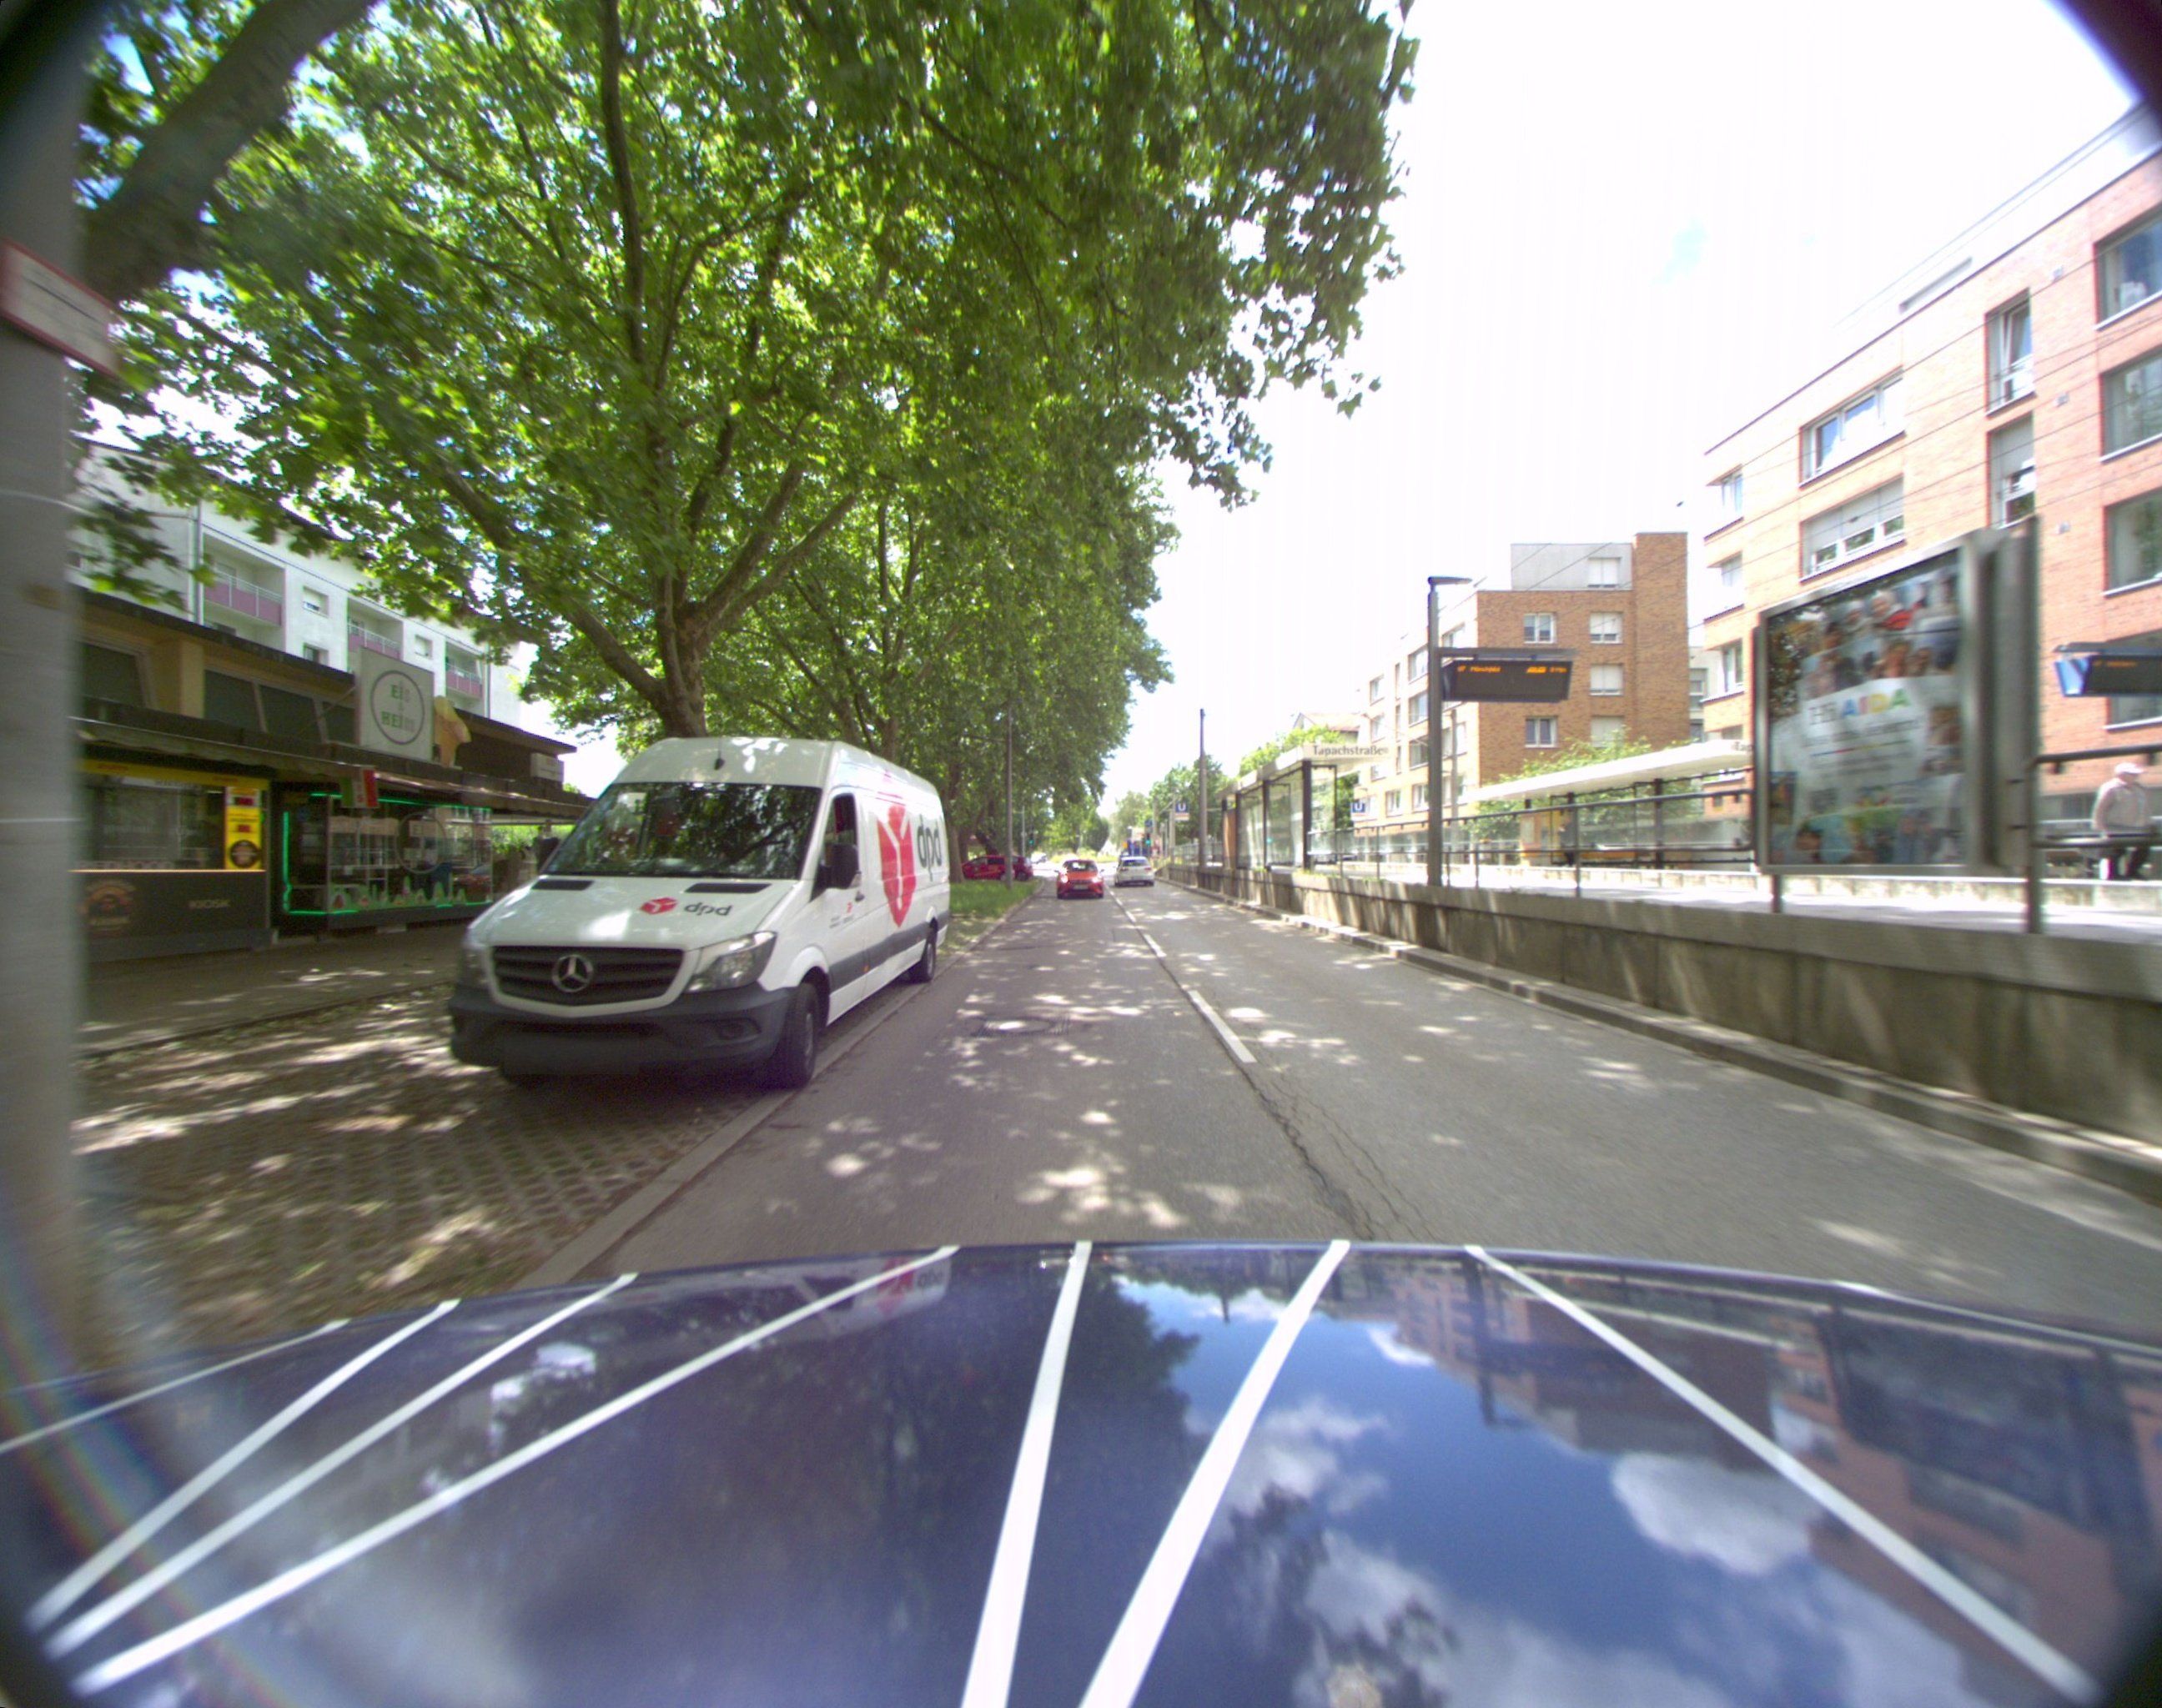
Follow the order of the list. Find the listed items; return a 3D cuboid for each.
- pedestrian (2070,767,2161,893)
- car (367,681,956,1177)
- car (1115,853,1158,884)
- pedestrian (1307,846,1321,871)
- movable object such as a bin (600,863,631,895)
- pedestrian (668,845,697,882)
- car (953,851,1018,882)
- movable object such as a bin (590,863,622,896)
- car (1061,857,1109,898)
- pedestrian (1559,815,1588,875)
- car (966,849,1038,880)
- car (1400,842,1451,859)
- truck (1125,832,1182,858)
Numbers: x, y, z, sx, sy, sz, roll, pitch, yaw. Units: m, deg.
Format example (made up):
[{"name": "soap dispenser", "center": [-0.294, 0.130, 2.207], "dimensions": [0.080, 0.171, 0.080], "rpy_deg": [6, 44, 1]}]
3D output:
[{"name": "pedestrian", "center": [14.213, -0.313, 10.213], "dimensions": [0.753, 1.619, 0.816], "rpy_deg": [-2, 0, 0]}, {"name": "car", "center": [-2.760, 0.394, 7.392], "dimensions": [1.909, 2.566, 6.833], "rpy_deg": [1, 0, 0]}, {"name": "car", "center": [2.711, 0.700, 37.756], "dimensions": [1.736, 1.388, 3.751], "rpy_deg": [-2, 0, -1]}, {"name": "pedestrian", "center": [16.515, 0.315, 53.906], "dimensions": [0.745, 1.814, 0.829], "rpy_deg": [0, 0, -1]}, {"name": "movable object such as a bin", "center": [-15.346, 0.816, 25.050], "dimensions": [0.625, 1.010, 0.647], "rpy_deg": [0, 1, -4]}, {"name": "pedestrian", "center": [-16.487, 0.393, 31.450], "dimensions": [0.752, 1.526, 0.907], "rpy_deg": [0, 1, -7]}, {"name": "car", "center": [-5.233, 0.684, 41.865], "dimensions": [3.417, 1.506, 1.609], "rpy_deg": [2, 0, -4]}, {"name": "movable object such as a bin", "center": [-15.187, 0.812, 24.299], "dimensions": [0.625, 1.010, 0.647], "rpy_deg": [0, 1, -4]}, {"name": "car", "center": [0.156, 0.864, 29.793], "dimensions": [1.712, 1.439, 3.670], "rpy_deg": [-2, 0, 0]}, {"name": "pedestrian", "center": [14.668, -0.262, 22.640], "dimensions": [0.535, 1.753, 0.528], "rpy_deg": [0, 1, -3]}, {"name": "car", "center": [-4.752, 0.618, 46.228], "dimensions": [4.038, 1.602, 1.731], "rpy_deg": [3, 1, 3]}, {"name": "car", "center": [28.420, -0.312, 62.742], "dimensions": [3.541, 1.391, 1.594], "rpy_deg": [0, 0, -2]}, {"name": "truck", "center": [11.700, -1.317, 122.192], "dimensions": [9.626, 4.069, 2.624], "rpy_deg": [0, 0, -34]}]
